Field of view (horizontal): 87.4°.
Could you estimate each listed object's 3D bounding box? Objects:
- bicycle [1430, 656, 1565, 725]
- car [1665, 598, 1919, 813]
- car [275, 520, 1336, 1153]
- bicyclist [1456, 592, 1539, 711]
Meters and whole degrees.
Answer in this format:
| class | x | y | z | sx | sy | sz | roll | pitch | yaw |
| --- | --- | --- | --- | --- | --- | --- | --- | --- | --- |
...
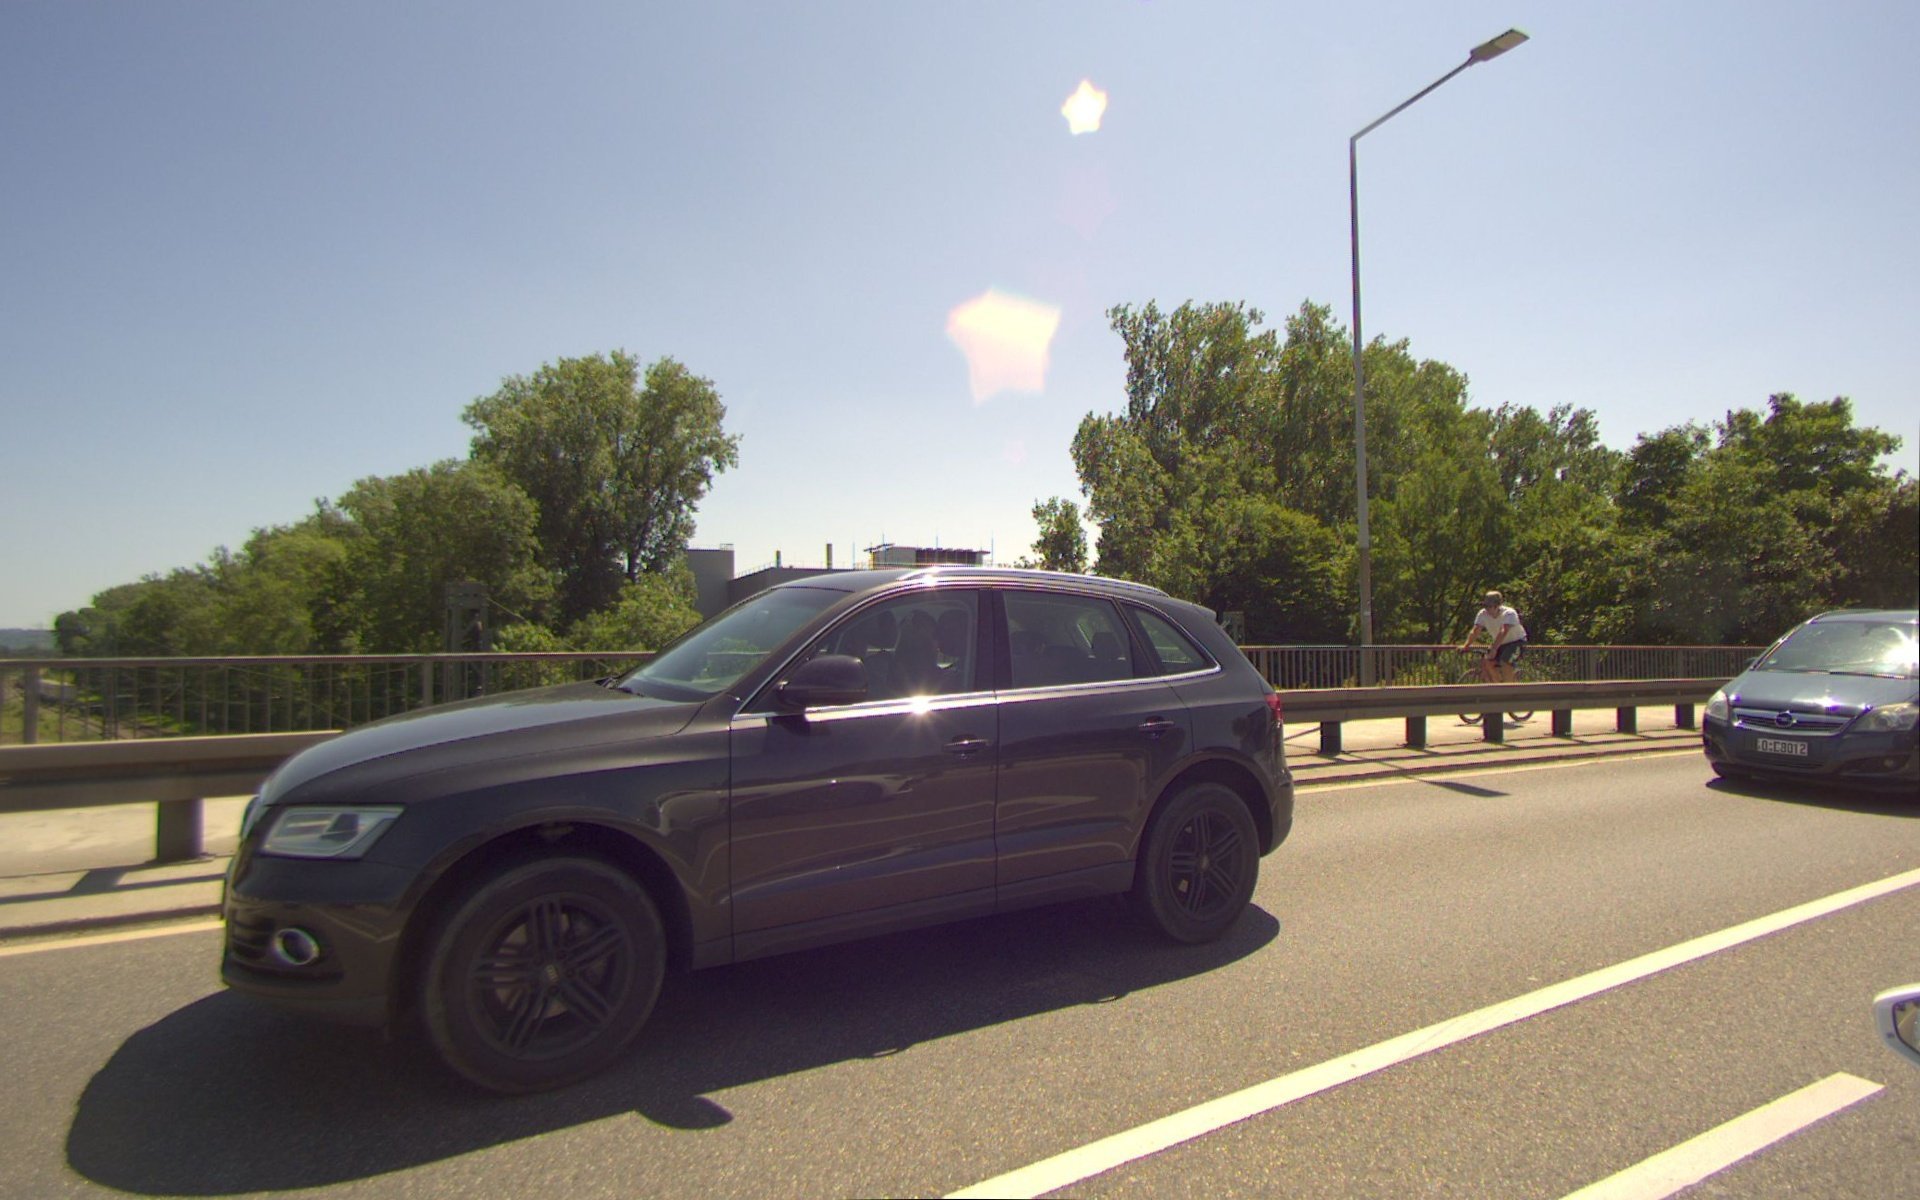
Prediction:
| class | x | y | z | sx | sy | sz | roll | pitch | yaw |
| --- | --- | --- | --- | --- | --- | --- | --- | --- | --- |
| bicycle | 7.248 | 1.193 | 13.520 | 1.965 | 0.844 | 0.586 | 1 | -1 | -27 |
| car | 8.731 | 0.840 | 9.411 | 4.197 | 1.648 | 1.700 | 1 | 0 | -27 |
| car | -0.438 | 0.668 | 4.534 | 4.252 | 1.662 | 1.792 | 1 | -1 | -32 |
| bicyclist | 7.216 | 0.679 | 13.499 | 0.884 | 1.541 | 0.581 | 1 | -1 | -27 |
